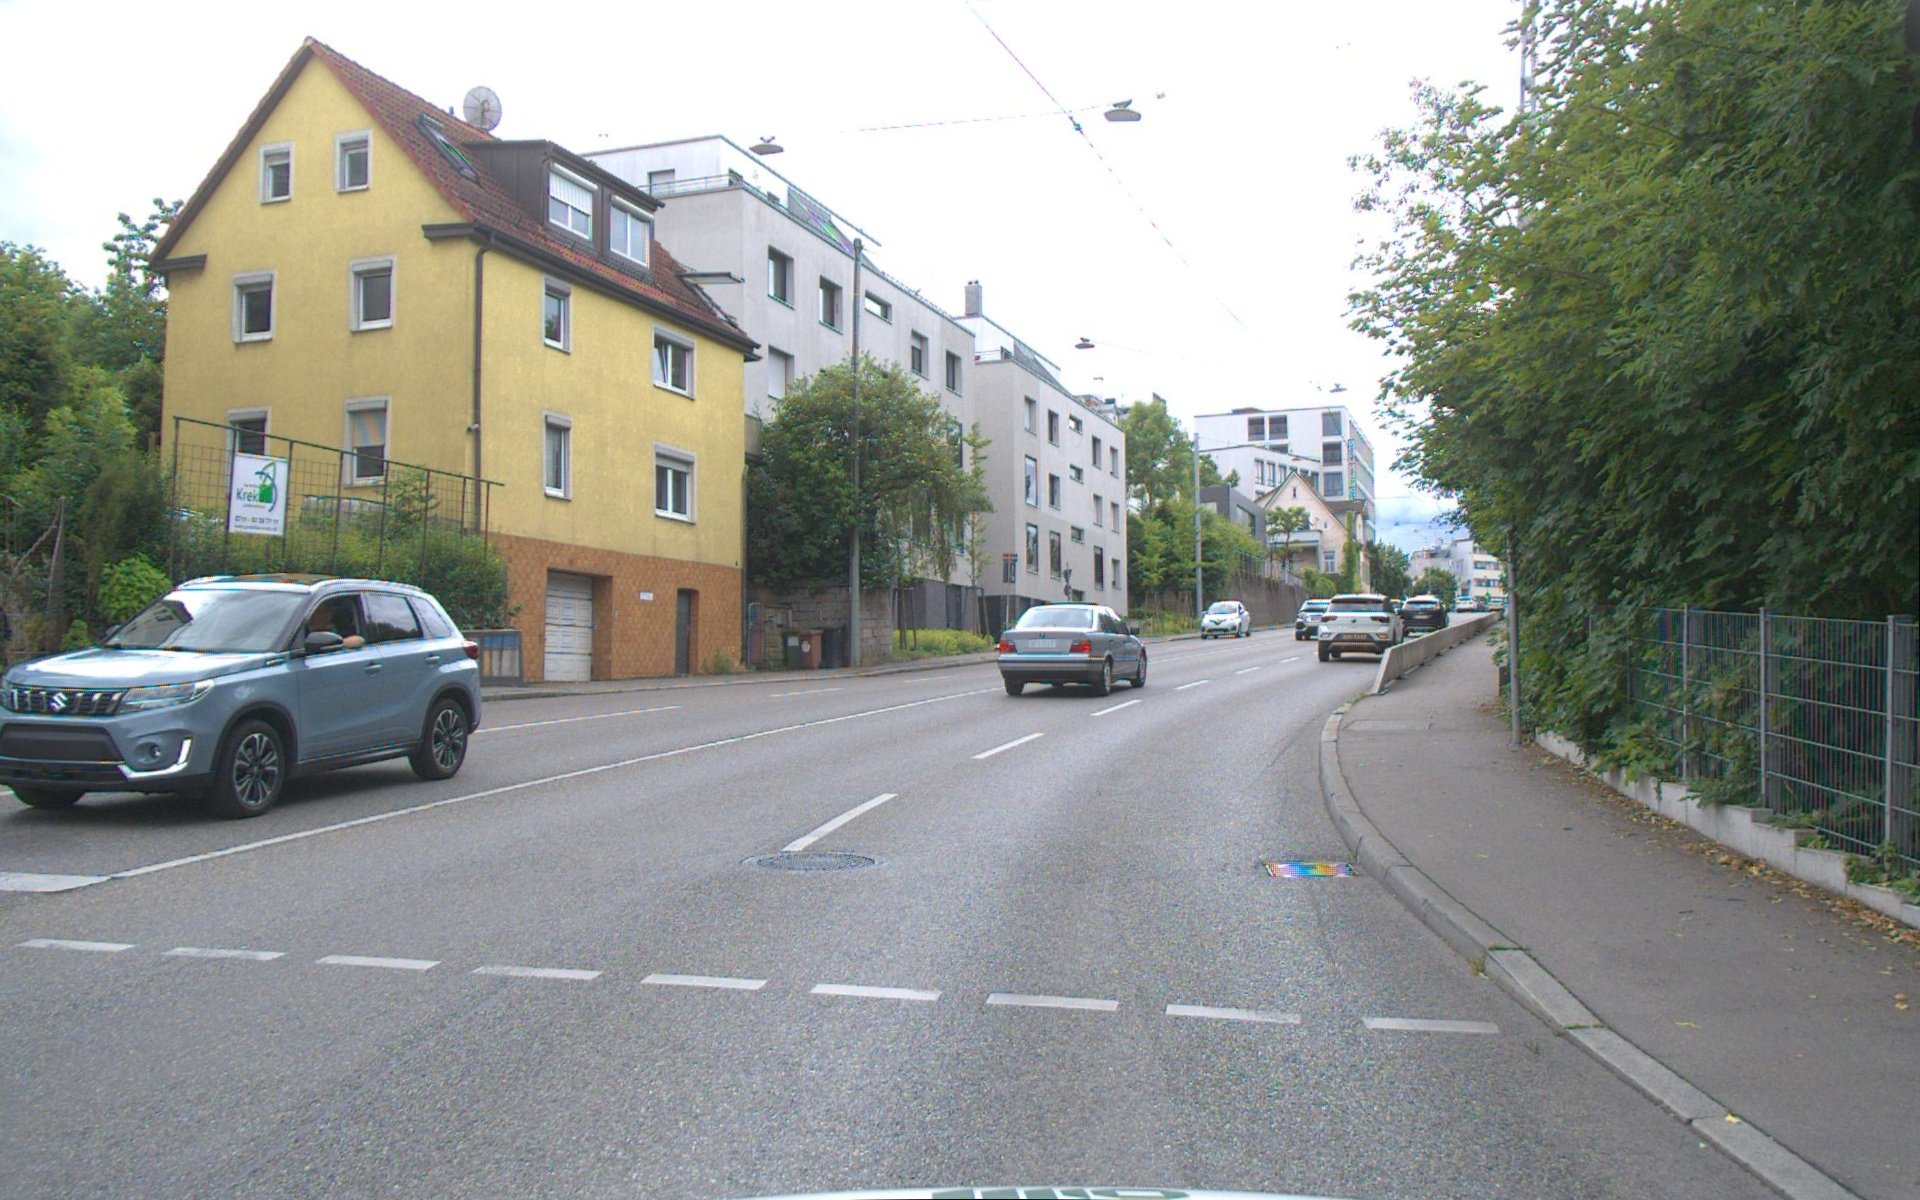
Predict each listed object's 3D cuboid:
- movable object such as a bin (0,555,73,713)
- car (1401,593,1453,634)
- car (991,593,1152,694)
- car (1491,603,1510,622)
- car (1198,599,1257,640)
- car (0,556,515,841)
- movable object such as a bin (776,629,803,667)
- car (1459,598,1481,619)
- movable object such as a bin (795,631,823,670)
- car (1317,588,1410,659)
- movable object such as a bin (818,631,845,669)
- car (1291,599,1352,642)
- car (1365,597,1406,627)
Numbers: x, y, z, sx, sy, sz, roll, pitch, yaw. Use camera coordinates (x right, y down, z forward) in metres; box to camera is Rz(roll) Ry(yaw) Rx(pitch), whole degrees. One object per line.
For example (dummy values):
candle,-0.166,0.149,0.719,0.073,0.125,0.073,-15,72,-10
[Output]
movable object such as a bin,-11.738,0.383,19.671,1.735,1.810,1.845,1,-1,-18
car,18.185,0.538,64.305,1.671,1.489,4.001,1,0,19
car,1.861,0.666,26.358,1.670,1.490,4.002,0,-1,17
car,61.716,1.431,188.837,1.952,2.049,4.001,1,0,20
car,11.737,0.829,72.391,1.708,1.642,4.057,-3,-1,21
car,-5.222,0.596,12.388,1.855,1.725,4.351,0,0,12
movable object such as a bin,-4.180,1.180,40.620,0.556,0.901,0.610,1,0,3
car,52.692,0.852,170.907,1.952,2.049,4.001,1,0,20
movable object such as a bin,-3.645,1.210,39.921,0.556,0.901,0.610,1,0,3
car,9.741,0.557,39.780,1.743,1.607,4.001,1,0,20
movable object such as a bin,-3.121,1.206,40.194,0.556,0.901,0.610,1,0,3
car,13.134,0.731,59.905,1.671,1.490,4.001,-1,0,19
car,22.057,0.618,85.699,1.671,1.490,4.001,-1,0,19
